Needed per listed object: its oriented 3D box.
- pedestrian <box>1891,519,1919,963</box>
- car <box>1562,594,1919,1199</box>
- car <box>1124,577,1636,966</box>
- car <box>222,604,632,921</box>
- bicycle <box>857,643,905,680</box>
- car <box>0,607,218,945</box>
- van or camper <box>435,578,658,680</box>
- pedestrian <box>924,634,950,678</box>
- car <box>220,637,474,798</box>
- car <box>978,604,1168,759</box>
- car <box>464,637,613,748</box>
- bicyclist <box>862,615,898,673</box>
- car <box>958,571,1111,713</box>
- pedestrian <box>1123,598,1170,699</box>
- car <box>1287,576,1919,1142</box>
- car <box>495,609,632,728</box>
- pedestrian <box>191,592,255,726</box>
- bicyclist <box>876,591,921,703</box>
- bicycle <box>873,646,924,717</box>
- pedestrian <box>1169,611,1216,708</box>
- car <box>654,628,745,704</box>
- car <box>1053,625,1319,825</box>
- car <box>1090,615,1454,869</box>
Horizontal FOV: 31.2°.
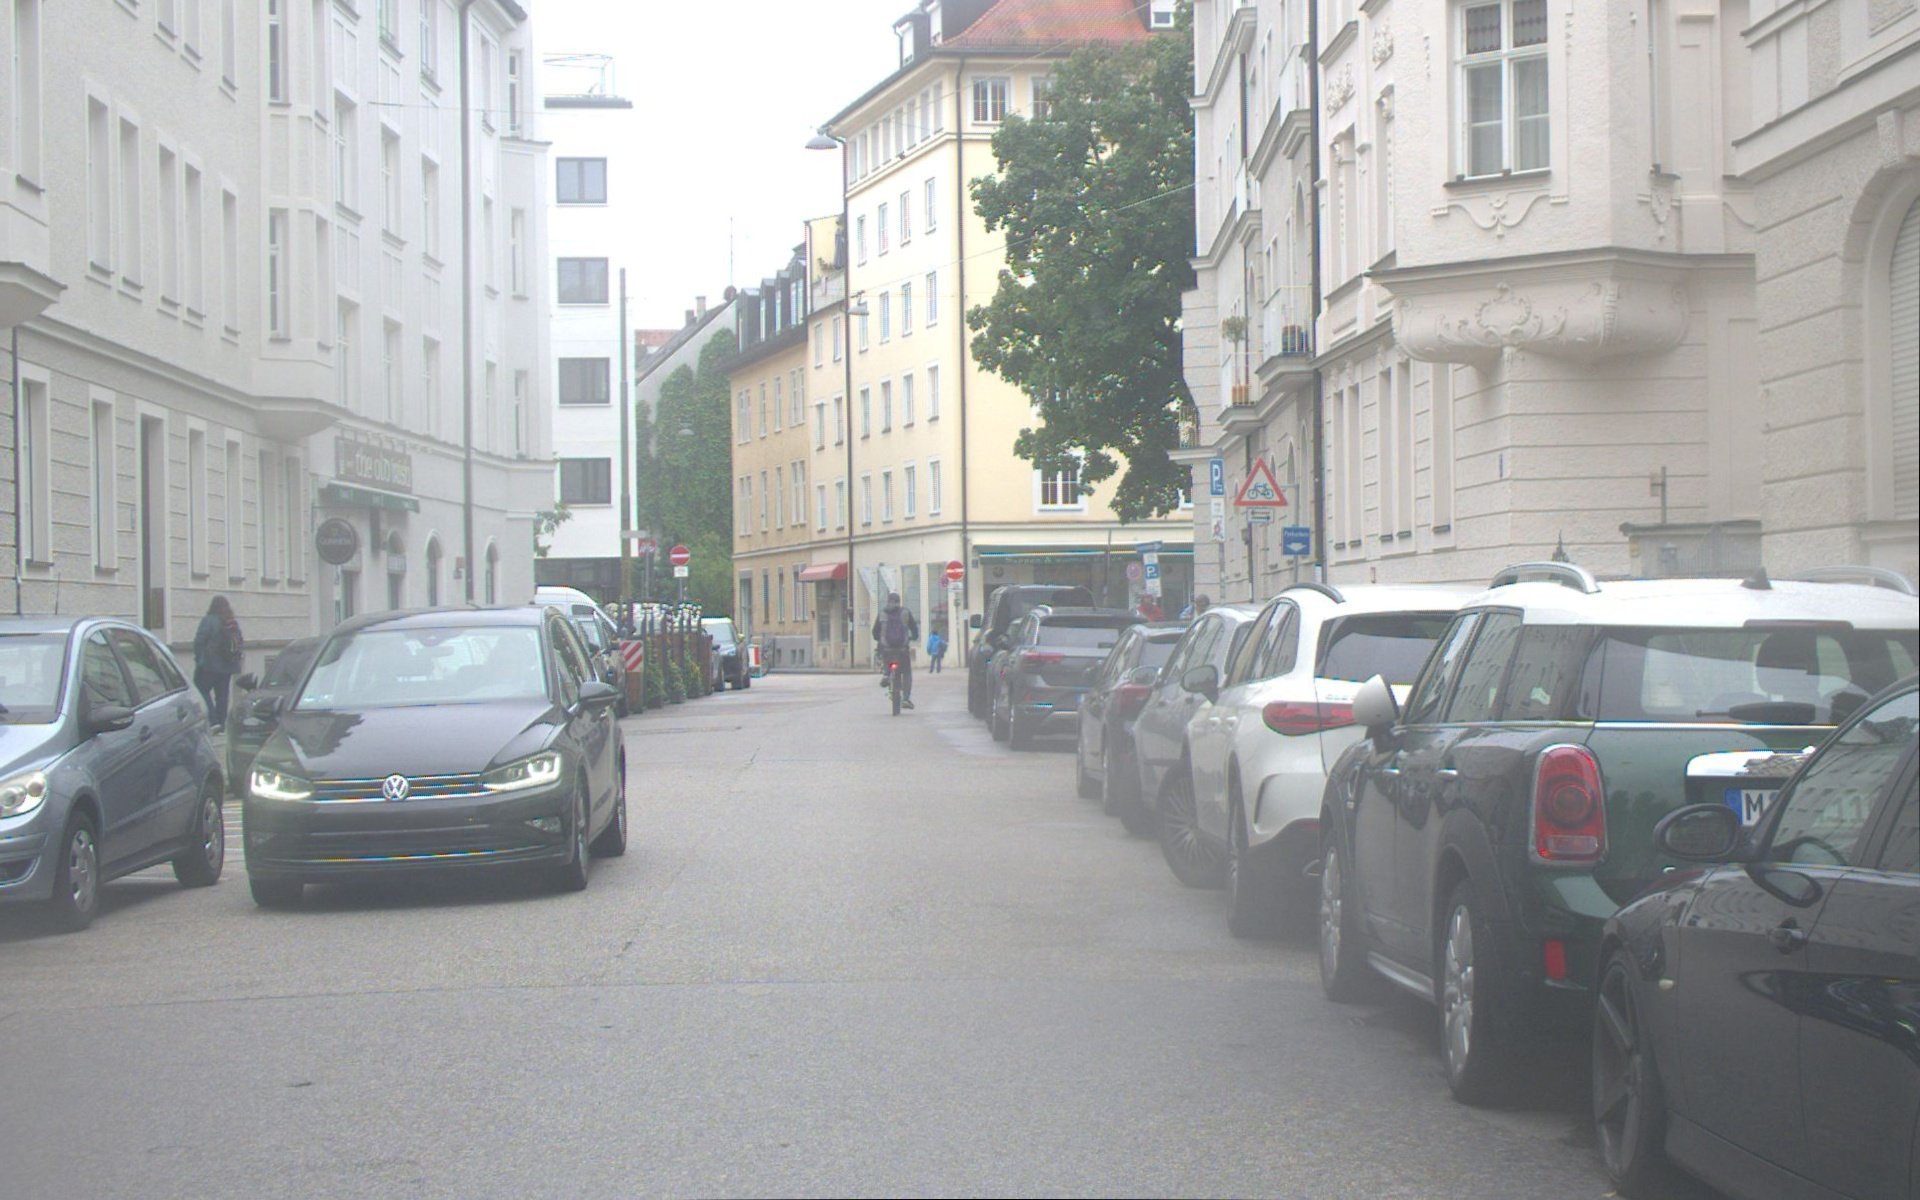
[{"bbox_3d":[4.140,0.552,13.437,0.682,1.769,0.855,-3,0,-1],"label":"pedestrian"},{"bbox_3d":[2.514,0.730,6.901,1.711,1.447,4.225,1,0,-2],"label":"car"},{"bbox_3d":[1.879,0.708,16.705,1.895,1.631,4.391,0,0,-1],"label":"car"},{"bbox_3d":[-2.880,0.837,19.375,1.724,1.528,4.086,-2,0,-1],"label":"car"},{"bbox_3d":[-2.227,1.724,96.875,0.846,0.998,2.170,1,0,-15],"label":"bicycle"},{"bbox_3d":[-5.218,0.869,18.317,1.696,1.575,4.062,-2,0,-1],"label":"car"},{"bbox_3d":[-11.177,0.789,92.881,5.903,2.668,1.873,0,-2,-9],"label":"van or camper"},{"bbox_3d":[-0.670,1.635,99.815,0.699,1.266,0.651,-1,0,3],"label":"pedestrian"},{"bbox_3d":[-5.652,1.047,32.192,1.849,1.362,4.702,0,0,-4],"label":"car"},{"bbox_3d":[1.201,0.855,38.110,1.707,1.582,4.000,2,0,-3],"label":"car"},{"bbox_3d":[-5.901,1.276,48.559,1.741,1.482,4.181,0,0,-2],"label":"car"},{"bbox_3d":[-2.254,1.230,96.970,0.781,1.632,0.976,1,0,-15],"label":"bicyclist"},{"bbox_3d":[1.024,0.596,49.891,1.911,1.879,4.714,2,0,-2],"label":"car"},{"bbox_3d":[3.215,0.831,59.456,0.703,1.722,0.703,-1,0,-4],"label":"pedestrian"},{"bbox_3d":[2.215,0.711,11.377,1.748,1.520,4.170,0,0,-2],"label":"car"},{"bbox_3d":[-6.063,1.018,52.943,1.746,1.667,4.276,-3,0,-3],"label":"car"},{"bbox_3d":[-9.425,0.754,43.966,0.697,1.701,0.665,0,0,-4],"label":"pedestrian"},{"bbox_3d":[-0.893,0.679,49.865,0.606,1.601,0.757,0,0,2],"label":"bicyclist"},{"bbox_3d":[-0.885,1.175,49.846,0.639,1.001,1.574,0,-1,2],"label":"bicycle"},{"bbox_3d":[4.056,1.035,60.051,0.679,1.669,0.654,-2,0,-4],"label":"pedestrian"},{"bbox_3d":[-5.791,1.470,76.881,1.676,1.591,3.945,-2,-1,0],"label":"car"},{"bbox_3d":[1.688,0.918,26.788,1.612,1.390,4.000,1,0,-2],"label":"car"},{"bbox_3d":[1.939,0.867,22.497,1.708,1.496,4.000,1,-1,-4],"label":"car"}]
